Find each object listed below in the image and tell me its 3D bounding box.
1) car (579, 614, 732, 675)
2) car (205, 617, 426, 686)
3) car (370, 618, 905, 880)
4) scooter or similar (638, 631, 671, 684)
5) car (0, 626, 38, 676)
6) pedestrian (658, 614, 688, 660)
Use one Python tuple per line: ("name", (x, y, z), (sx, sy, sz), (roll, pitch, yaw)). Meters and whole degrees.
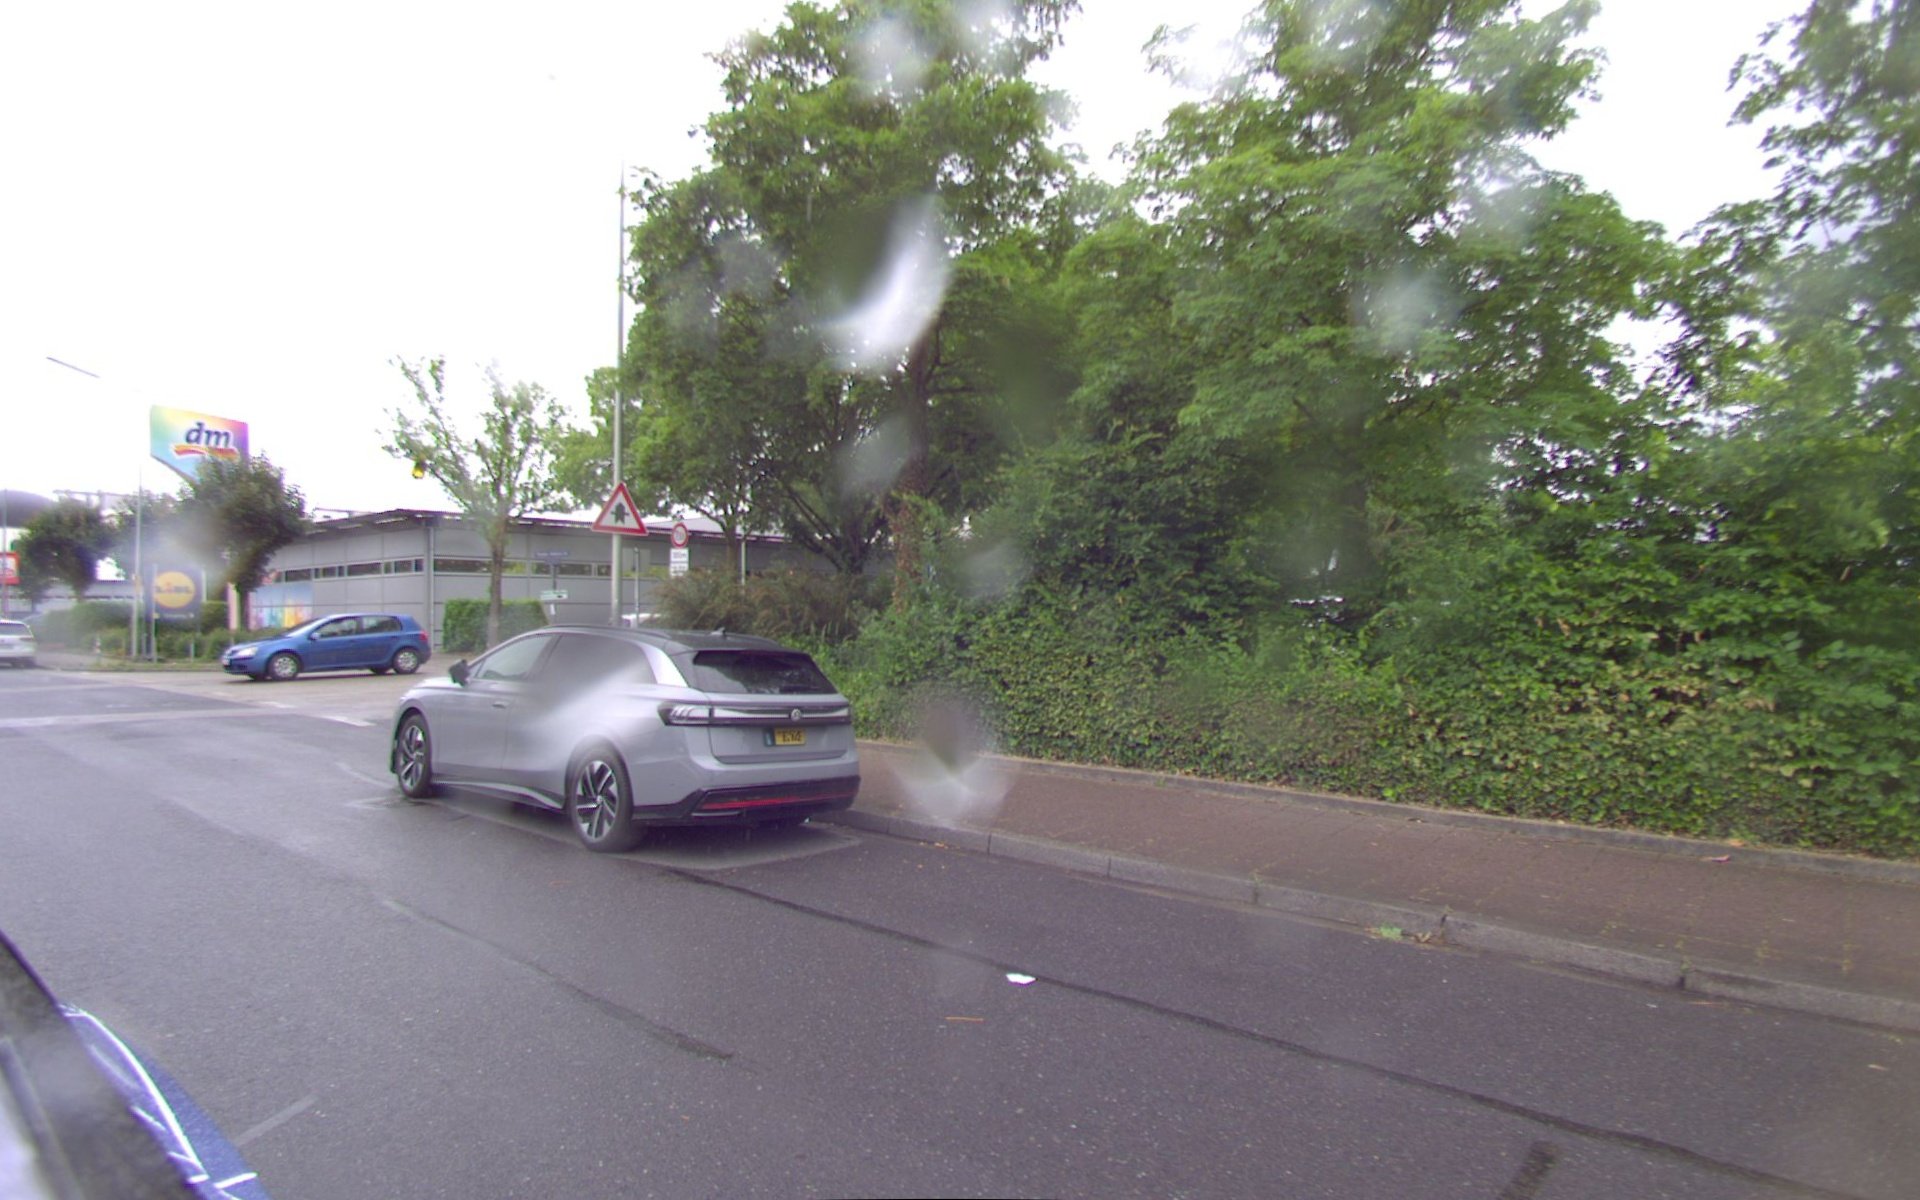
("car", (-8.018, 1.145, 26.806), (1.638, 1.466, 3.527), (-3, -2, 43))
("car", (-14.733, 1.136, 23.311), (1.734, 1.452, 3.947), (-2, -2, 39))
("car", (-2.820, 0.974, 8.227), (4.743, 1.540, 1.791), (-1, -5, 39))
("scooter or similar", (-6.940, 1.292, 22.987), (0.280, 1.184, 1.061), (1, -1, -43))
("car", (-29.454, 1.496, 30.534), (4.488, 1.445, 1.817), (-1, -3, 40))
("pedestrian", (-10.486, 1.340, 37.019), (0.757, 1.686, 0.772), (-1, -1, 37))
